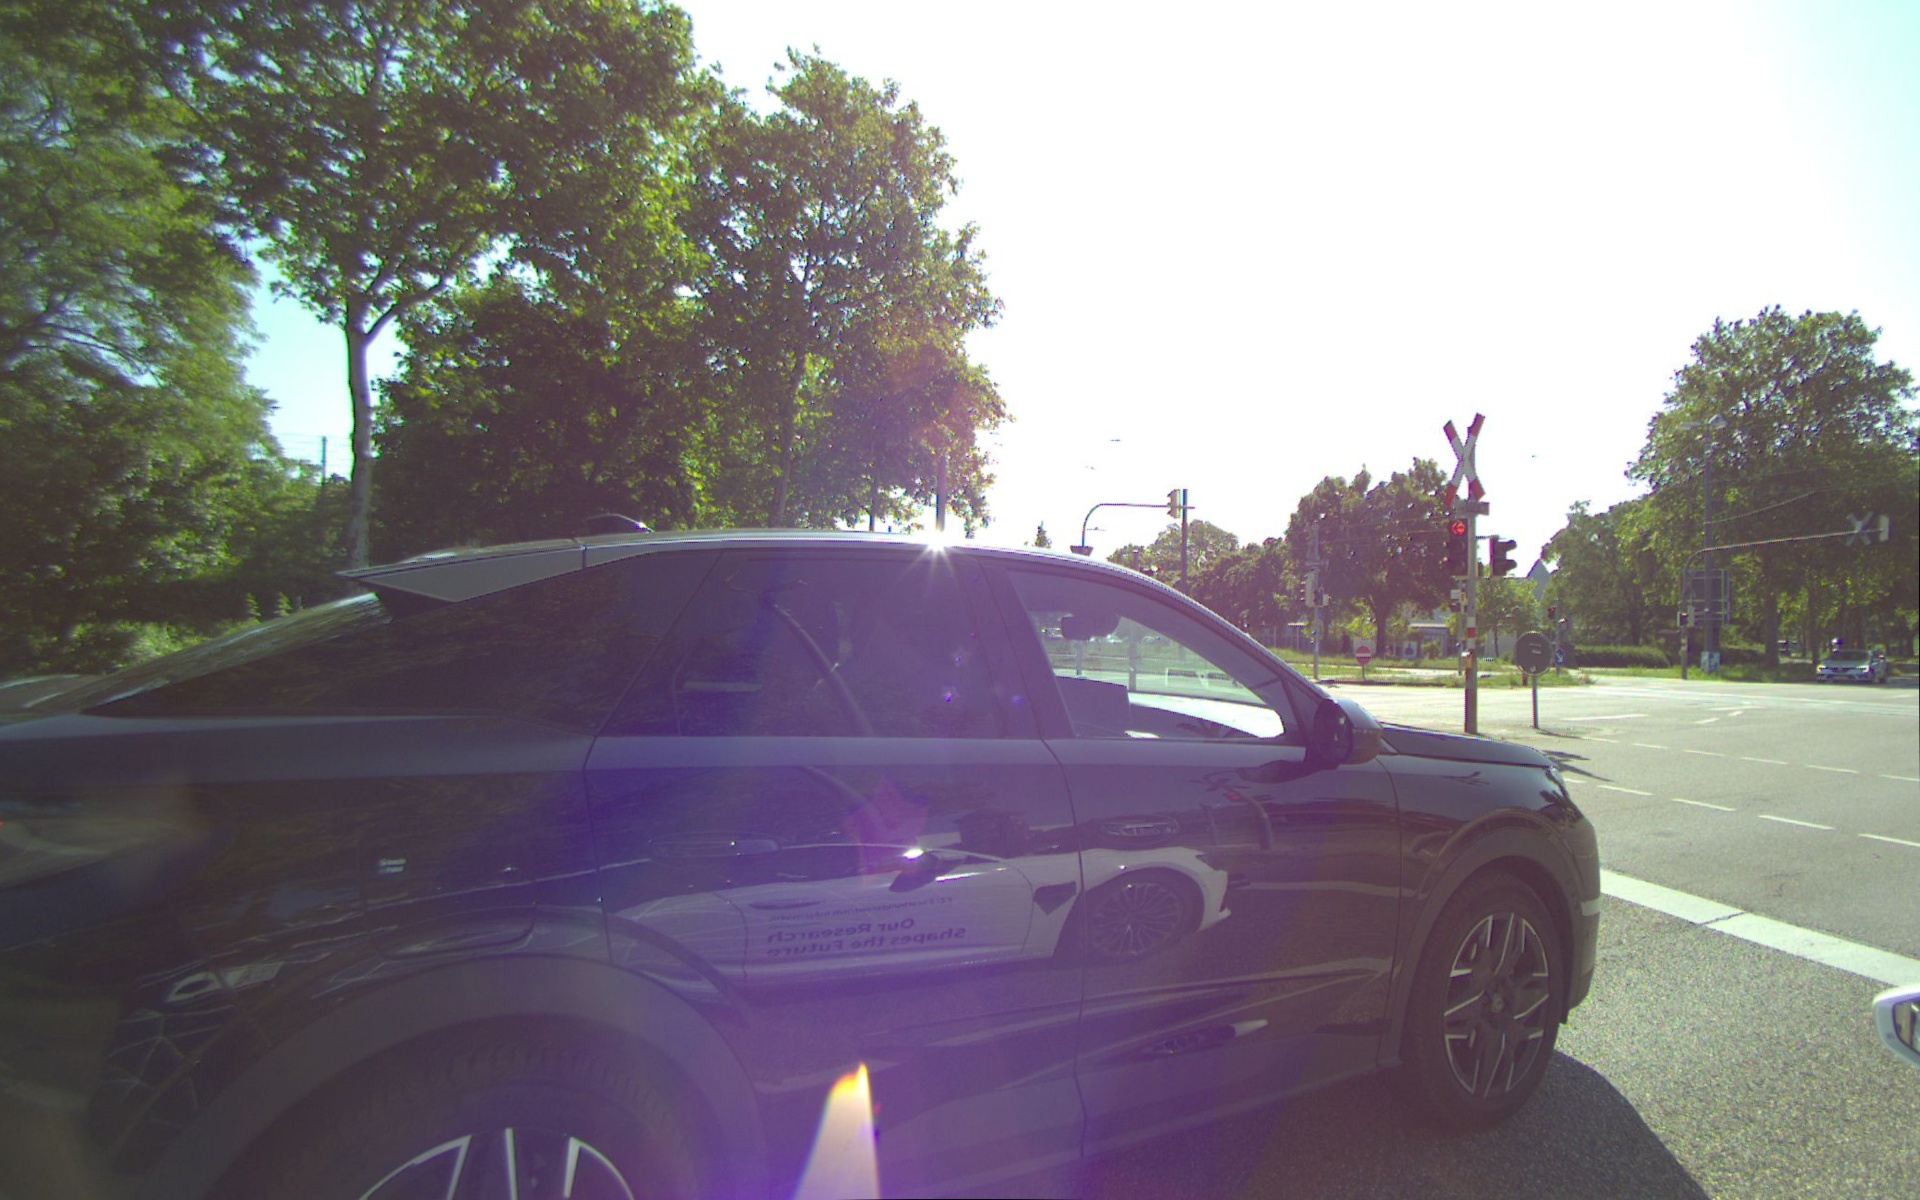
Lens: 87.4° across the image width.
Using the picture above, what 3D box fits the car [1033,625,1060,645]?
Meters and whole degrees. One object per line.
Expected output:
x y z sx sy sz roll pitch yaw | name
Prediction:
7.994 3.257 93.134 1.780 1.725 3.985 1 -2 -4 | car

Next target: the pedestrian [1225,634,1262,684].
8.891 1.840 31.528 0.856 1.520 0.696 1 -2 -19 | pedestrian

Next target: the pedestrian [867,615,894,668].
-2.392 1.231 30.074 0.563 1.554 0.601 2 -2 -36 | pedestrian

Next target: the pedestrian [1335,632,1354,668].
22.575 2.932 58.978 0.707 2.040 0.786 2 -2 -43 | pedestrian

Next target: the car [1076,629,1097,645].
11.699 3.431 93.102 1.323 1.465 3.340 1 -2 -4 | car

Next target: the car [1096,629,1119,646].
13.698 3.473 93.440 1.421 1.465 3.340 1 -2 -4 | car

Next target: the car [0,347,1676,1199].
-0.050 0.607 2.937 4.384 1.719 1.863 2 -1 -30 | car

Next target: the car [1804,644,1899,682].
38.372 2.676 43.203 4.606 1.528 1.686 2 -2 -30 | car
